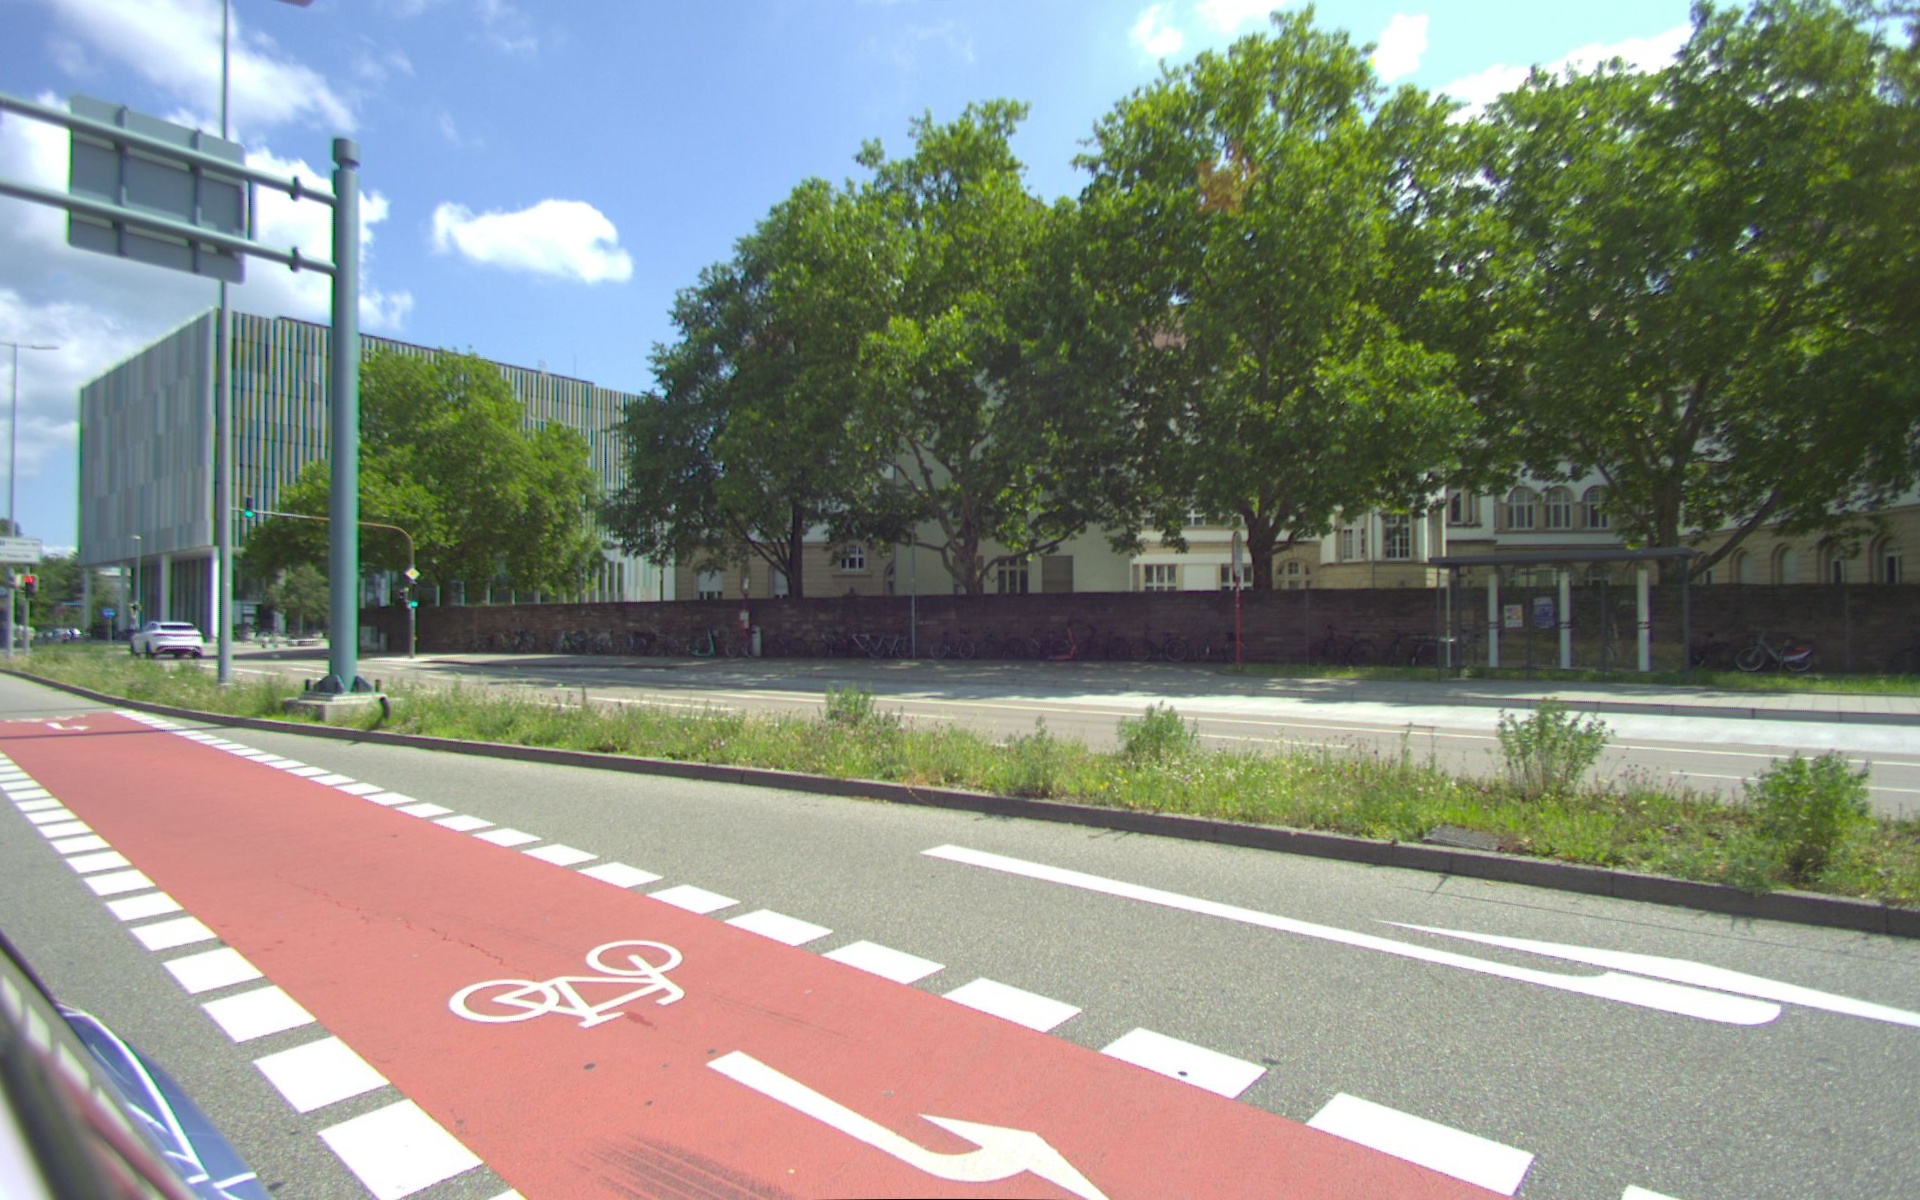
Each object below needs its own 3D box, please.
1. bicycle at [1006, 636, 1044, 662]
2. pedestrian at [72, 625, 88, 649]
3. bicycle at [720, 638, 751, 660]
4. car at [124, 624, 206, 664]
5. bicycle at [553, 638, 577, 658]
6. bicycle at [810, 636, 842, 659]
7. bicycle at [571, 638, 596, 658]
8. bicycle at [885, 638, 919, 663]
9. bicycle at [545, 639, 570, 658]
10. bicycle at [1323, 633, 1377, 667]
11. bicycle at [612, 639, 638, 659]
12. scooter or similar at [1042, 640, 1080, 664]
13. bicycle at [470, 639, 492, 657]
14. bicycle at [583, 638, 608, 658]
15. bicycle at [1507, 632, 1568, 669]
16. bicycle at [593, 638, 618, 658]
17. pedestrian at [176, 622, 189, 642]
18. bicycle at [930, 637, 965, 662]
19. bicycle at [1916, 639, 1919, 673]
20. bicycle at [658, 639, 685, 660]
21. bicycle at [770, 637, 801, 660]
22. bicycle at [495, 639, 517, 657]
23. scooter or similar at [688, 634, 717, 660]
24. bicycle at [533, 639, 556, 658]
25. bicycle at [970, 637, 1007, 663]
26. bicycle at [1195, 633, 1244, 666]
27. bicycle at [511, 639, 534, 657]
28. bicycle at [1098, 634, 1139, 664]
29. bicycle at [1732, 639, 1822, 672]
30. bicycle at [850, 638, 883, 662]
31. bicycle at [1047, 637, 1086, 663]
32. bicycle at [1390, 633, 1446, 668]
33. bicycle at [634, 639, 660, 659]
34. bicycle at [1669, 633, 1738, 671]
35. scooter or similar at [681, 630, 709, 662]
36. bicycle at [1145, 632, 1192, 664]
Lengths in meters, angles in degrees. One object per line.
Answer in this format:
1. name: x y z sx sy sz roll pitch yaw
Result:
1. bicycle: 2.129 1.612 33.062 1.230 0.837 0.262 -1 -2 28
2. pedestrian: -76.359 3.182 87.827 0.994 2.029 0.853 -2 -2 39
3. bicycle: -8.650 1.888 38.941 1.226 0.837 0.263 -1 -2 19
4. car: -35.357 1.932 44.959 4.508 1.724 1.973 -2 -2 40
5. bicycle: -17.410 2.114 44.550 1.230 0.837 0.262 -1 -2 29
6. bicycle: -4.881 1.729 36.871 1.231 0.837 0.262 -1 -2 30
7. bicycle: -16.271 2.085 43.716 1.231 0.837 0.262 -2 -2 30
8. bicycle: -2.018 1.753 35.109 1.231 0.837 0.262 -1 -2 30
9. bicycle: -17.486 2.112 43.956 1.230 0.837 0.262 -1 -2 29
10. bicycle: 11.176 1.428 29.027 1.384 0.972 0.263 -1 -2 18
11. bicycle: -13.967 2.030 42.189 1.231 0.837 0.262 -2 -2 30
12. scooter or similar: 3.175 1.631 31.801 1.133 0.734 0.264 -1 -2 18
13. bicycle: -22.696 2.274 47.948 1.231 0.837 0.262 -2 -2 30
14. bicycle: -15.335 2.007 42.547 1.230 0.837 0.262 -1 -2 29
15. bicycle: 15.635 1.371 27.406 1.384 0.972 0.263 -1 -2 18
16. bicycle: -15.032 2.020 42.897 1.231 0.837 0.262 -2 -2 30
17. pedestrian: -77.548 3.176 100.974 0.994 2.029 0.853 -2 -2 40
18. bicycle: -0.430 1.675 34.280 1.230 0.837 0.262 -1 -2 28
19. bicycle: 24.438 1.359 24.598 1.734 0.823 0.382 -1 -2 18
20. bicycle: -11.571 1.969 40.572 1.231 0.837 0.262 -2 -2 30
21. bicycle: -6.473 1.812 37.558 1.231 0.837 0.262 -1 -2 30
22. bicycle: -21.057 2.223 46.957 1.231 0.837 0.262 -2 -2 30
23. scooter or similar: -10.148 1.862 39.910 1.133 1.028 0.264 -1 -2 19
24. bicycle: -18.599 2.165 45.300 1.230 0.837 0.262 -1 -2 29
25. bicycle: 0.957 1.660 33.711 1.230 0.837 0.262 -1 -2 28
26. bicycle: 7.803 1.471 30.410 1.389 0.972 0.262 -1 -2 28
27. bicycle: -19.976 2.190 46.188 1.230 0.837 0.262 -1 -2 29
28. bicycle: 4.945 1.524 31.596 1.230 0.915 0.262 -1 -2 28
29. bicycle: 20.742 1.407 25.716 1.734 0.823 0.327 -1 -2 18
30. bicycle: -3.329 1.756 35.897 1.231 0.837 0.262 -1 -2 30
31. bicycle: 3.406 1.596 32.450 1.230 0.837 0.262 -1 -2 28
32. bicycle: 12.861 1.427 28.413 1.384 0.972 0.263 -1 -2 18
33. bicycle: -12.822 2.011 41.478 1.231 0.837 0.262 -2 -2 30
34. bicycle: 19.230 1.347 26.190 1.384 0.972 0.263 -1 -2 18
35. scooter or similar: -10.212 1.764 38.968 1.230 1.199 0.262 -1 -2 29
36. bicycle: 6.397 1.478 31.030 1.385 0.972 0.263 -1 -2 20
